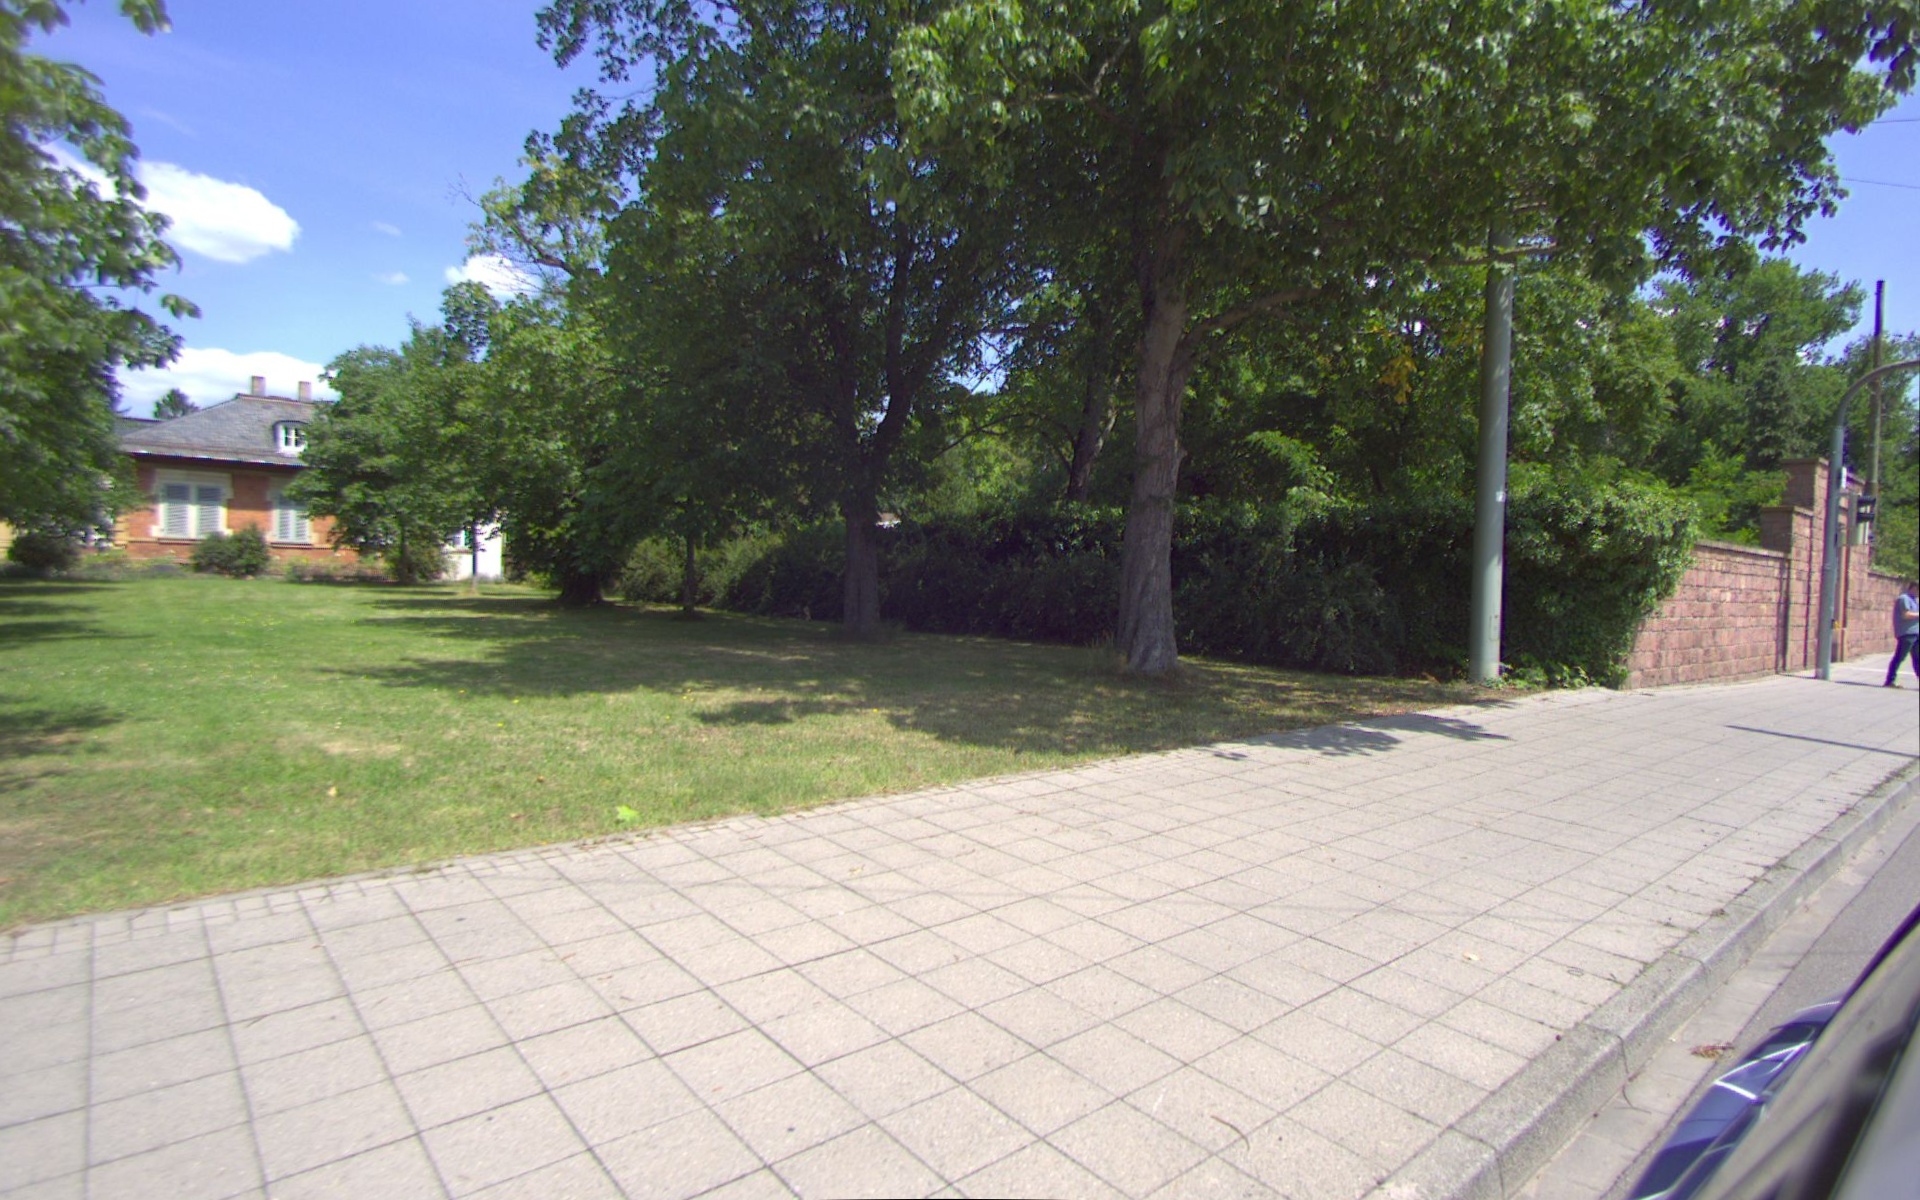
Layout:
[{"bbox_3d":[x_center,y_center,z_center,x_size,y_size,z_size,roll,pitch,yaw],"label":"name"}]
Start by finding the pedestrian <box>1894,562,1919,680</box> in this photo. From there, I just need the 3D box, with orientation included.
[{"bbox_3d":[15.632,0.347,16.288,0.764,1.874,0.707,4,2,42],"label":"pedestrian"}]
